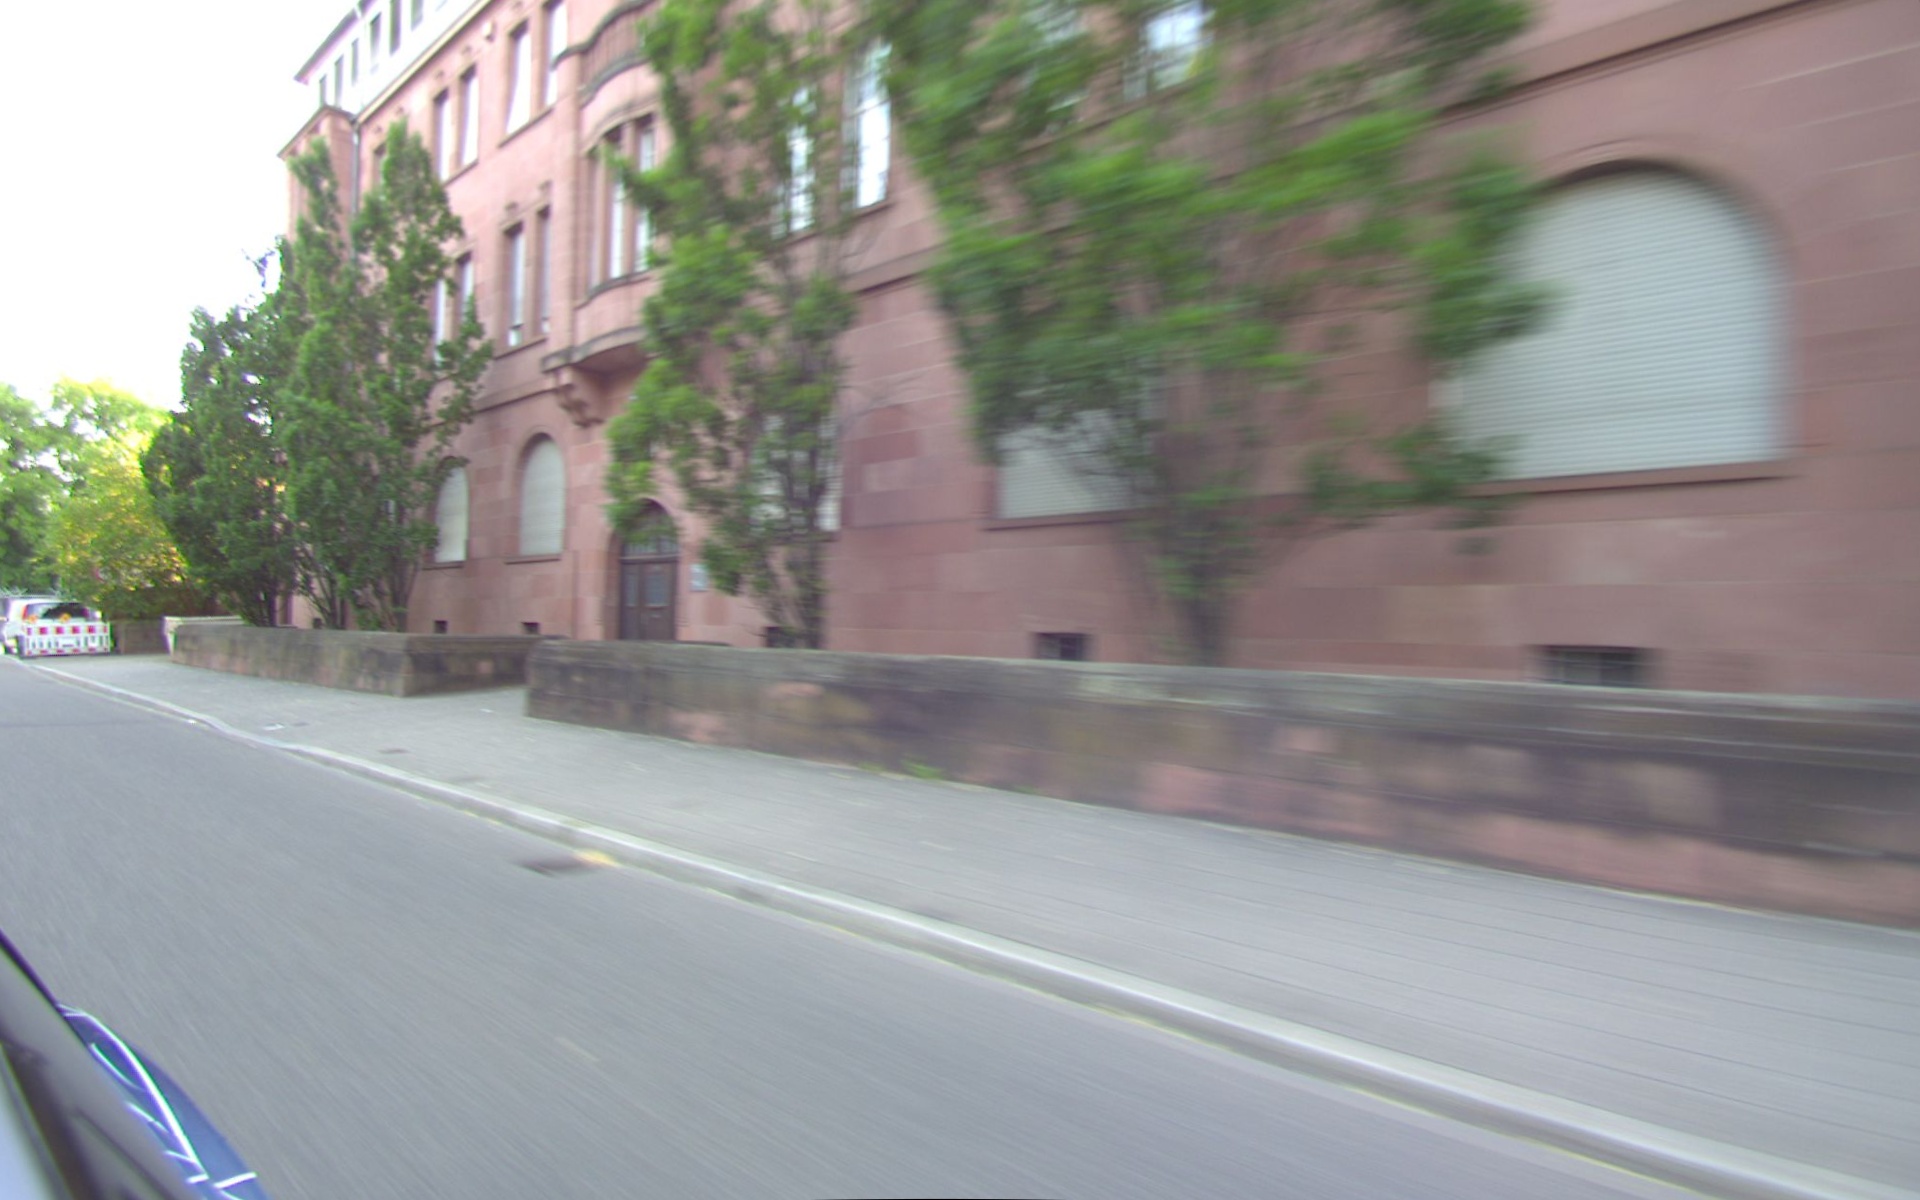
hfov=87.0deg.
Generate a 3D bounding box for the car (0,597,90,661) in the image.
[{"bbox_3d":[-31.793,0.950,34.954,5.222,2.029,1.863,-1,0,41],"label":"car"}]
